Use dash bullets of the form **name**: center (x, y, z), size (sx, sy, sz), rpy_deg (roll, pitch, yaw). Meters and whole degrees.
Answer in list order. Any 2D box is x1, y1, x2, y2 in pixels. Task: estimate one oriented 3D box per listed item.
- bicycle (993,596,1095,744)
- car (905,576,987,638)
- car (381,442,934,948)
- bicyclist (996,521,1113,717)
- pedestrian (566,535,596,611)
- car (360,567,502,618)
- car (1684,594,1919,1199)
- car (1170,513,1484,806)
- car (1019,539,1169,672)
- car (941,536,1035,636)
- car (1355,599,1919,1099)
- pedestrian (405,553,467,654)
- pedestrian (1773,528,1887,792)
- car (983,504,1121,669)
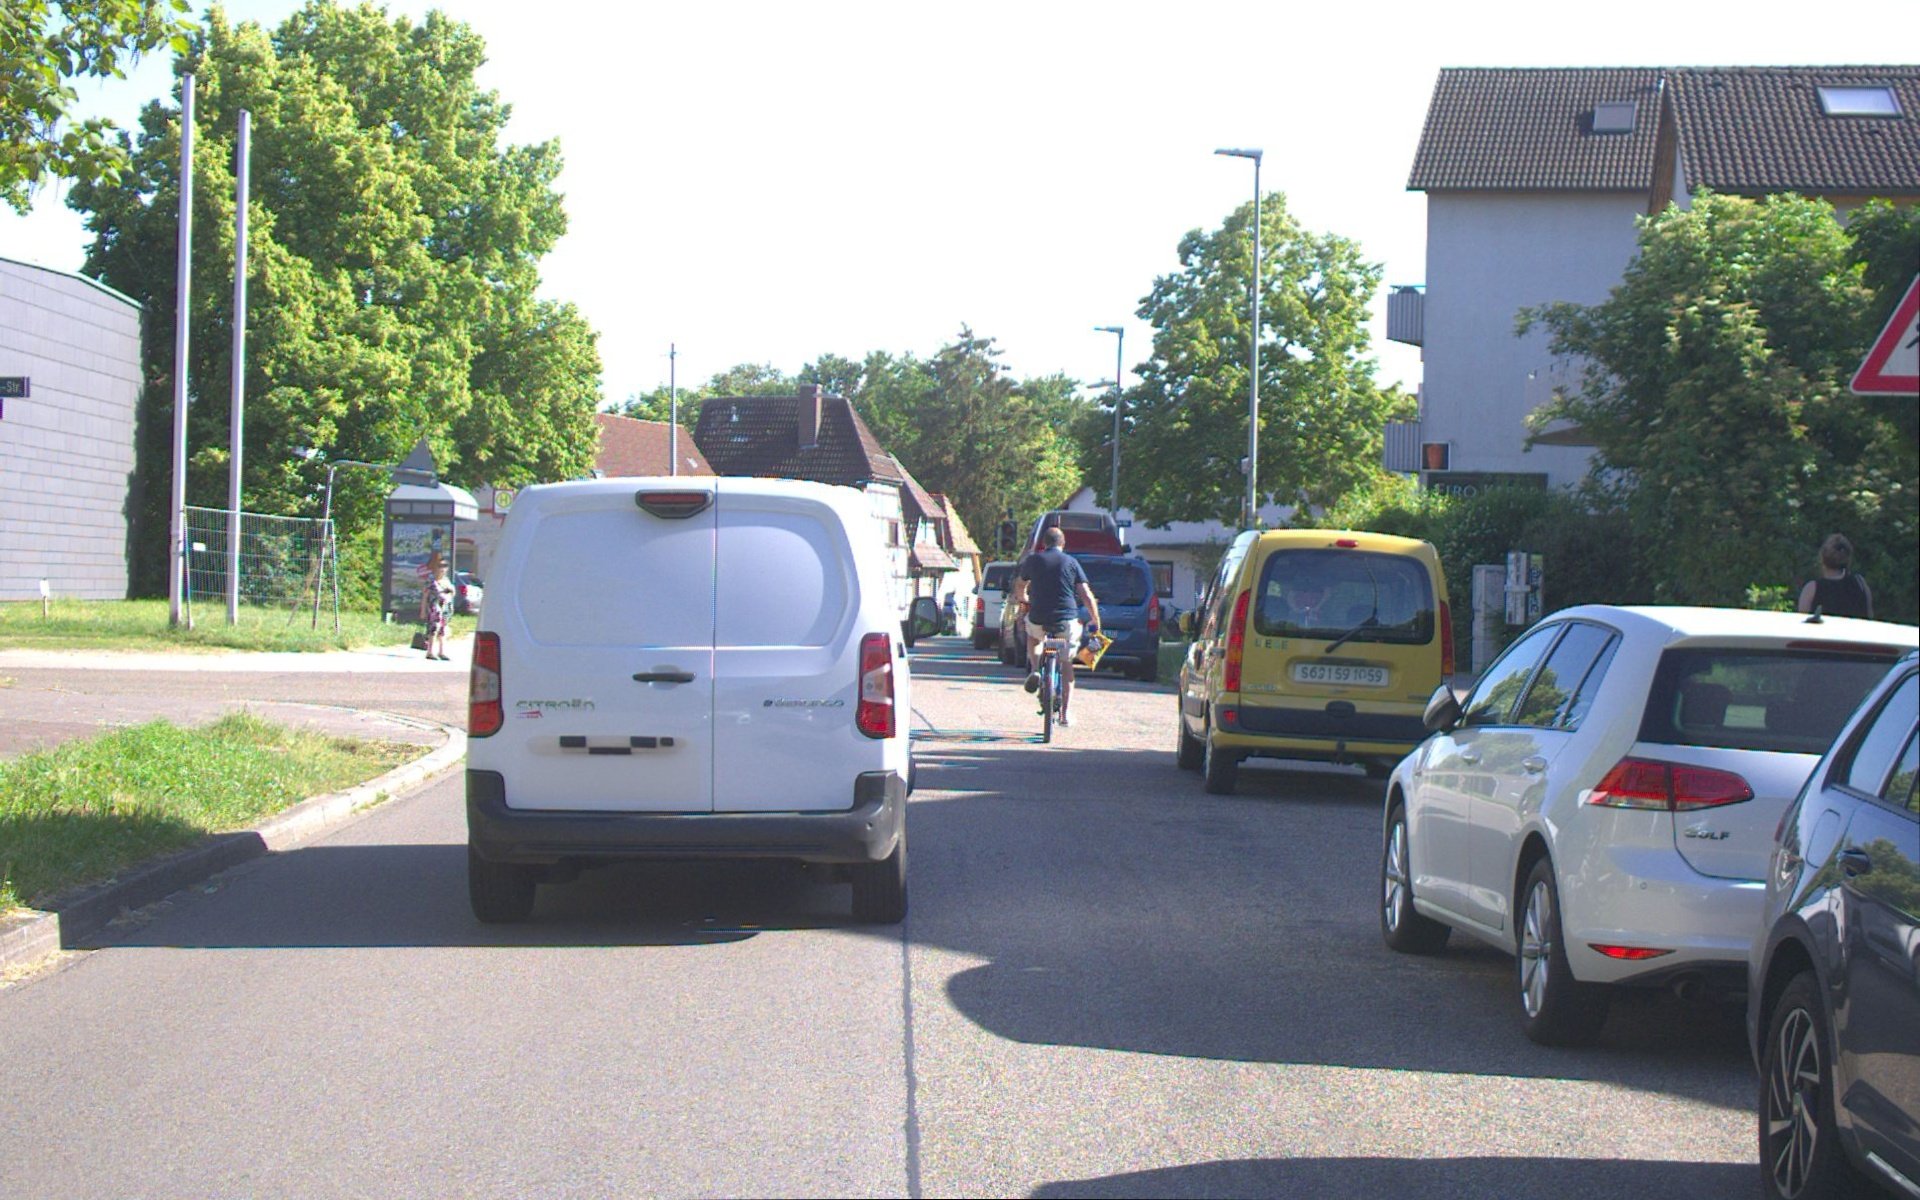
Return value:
- **bicycle**: center (0.722, 0.561, 28.775), size (0.787, 1.135, 2.280), rpy_deg (2, 1, 2)
- **car**: center (-0.436, 0.249, 112.269), size (1.805, 1.836, 3.998), rpy_deg (4, 0, 12)
- **car**: center (-1.176, 0.332, 15.303), size (1.993, 1.875, 4.289), rpy_deg (2, 1, 1)
- **bicyclist**: center (0.784, 0.155, 28.796), size (0.905, 1.579, 0.966), rpy_deg (2, 0, 0)
- **pedestrian**: center (-9.031, -0.637, 81.960), size (0.621, 1.799, 0.640), rpy_deg (2, -1, -2)
- **car**: center (-16.381, -0.241, 106.518), size (3.980, 1.424, 1.714), rpy_deg (2, 0, 17)
- **car**: center (2.782, 0.769, 6.494), size (1.807, 1.438, 4.363), rpy_deg (2, 1, -1)
- **car**: center (2.492, 0.369, 24.207), size (1.724, 1.831, 4.000), rpy_deg (2, 0, 0)
- **car**: center (1.943, 0.087, 50.864), size (1.804, 1.779, 4.000), rpy_deg (4, 0, -2)
- **car**: center (0.600, -0.307, 77.038), size (1.804, 2.061, 4.000), rpy_deg (4, 0, -2)
- **car**: center (2.675, 0.770, 12.453), size (1.826, 1.447, 4.000), rpy_deg (2, 0, -2)
- **pedestrian**: center (-7.752, 0.060, 50.865), size (0.510, 1.441, 0.638), rpy_deg (5, 1, 32)
- **pedestrian**: center (5.497, 0.369, 21.746), size (0.567, 1.631, 0.546), rpy_deg (2, 1, 4)
- **car**: center (1.506, -0.212, 58.025), size (1.866, 2.554, 4.768), rpy_deg (4, 0, -2)
